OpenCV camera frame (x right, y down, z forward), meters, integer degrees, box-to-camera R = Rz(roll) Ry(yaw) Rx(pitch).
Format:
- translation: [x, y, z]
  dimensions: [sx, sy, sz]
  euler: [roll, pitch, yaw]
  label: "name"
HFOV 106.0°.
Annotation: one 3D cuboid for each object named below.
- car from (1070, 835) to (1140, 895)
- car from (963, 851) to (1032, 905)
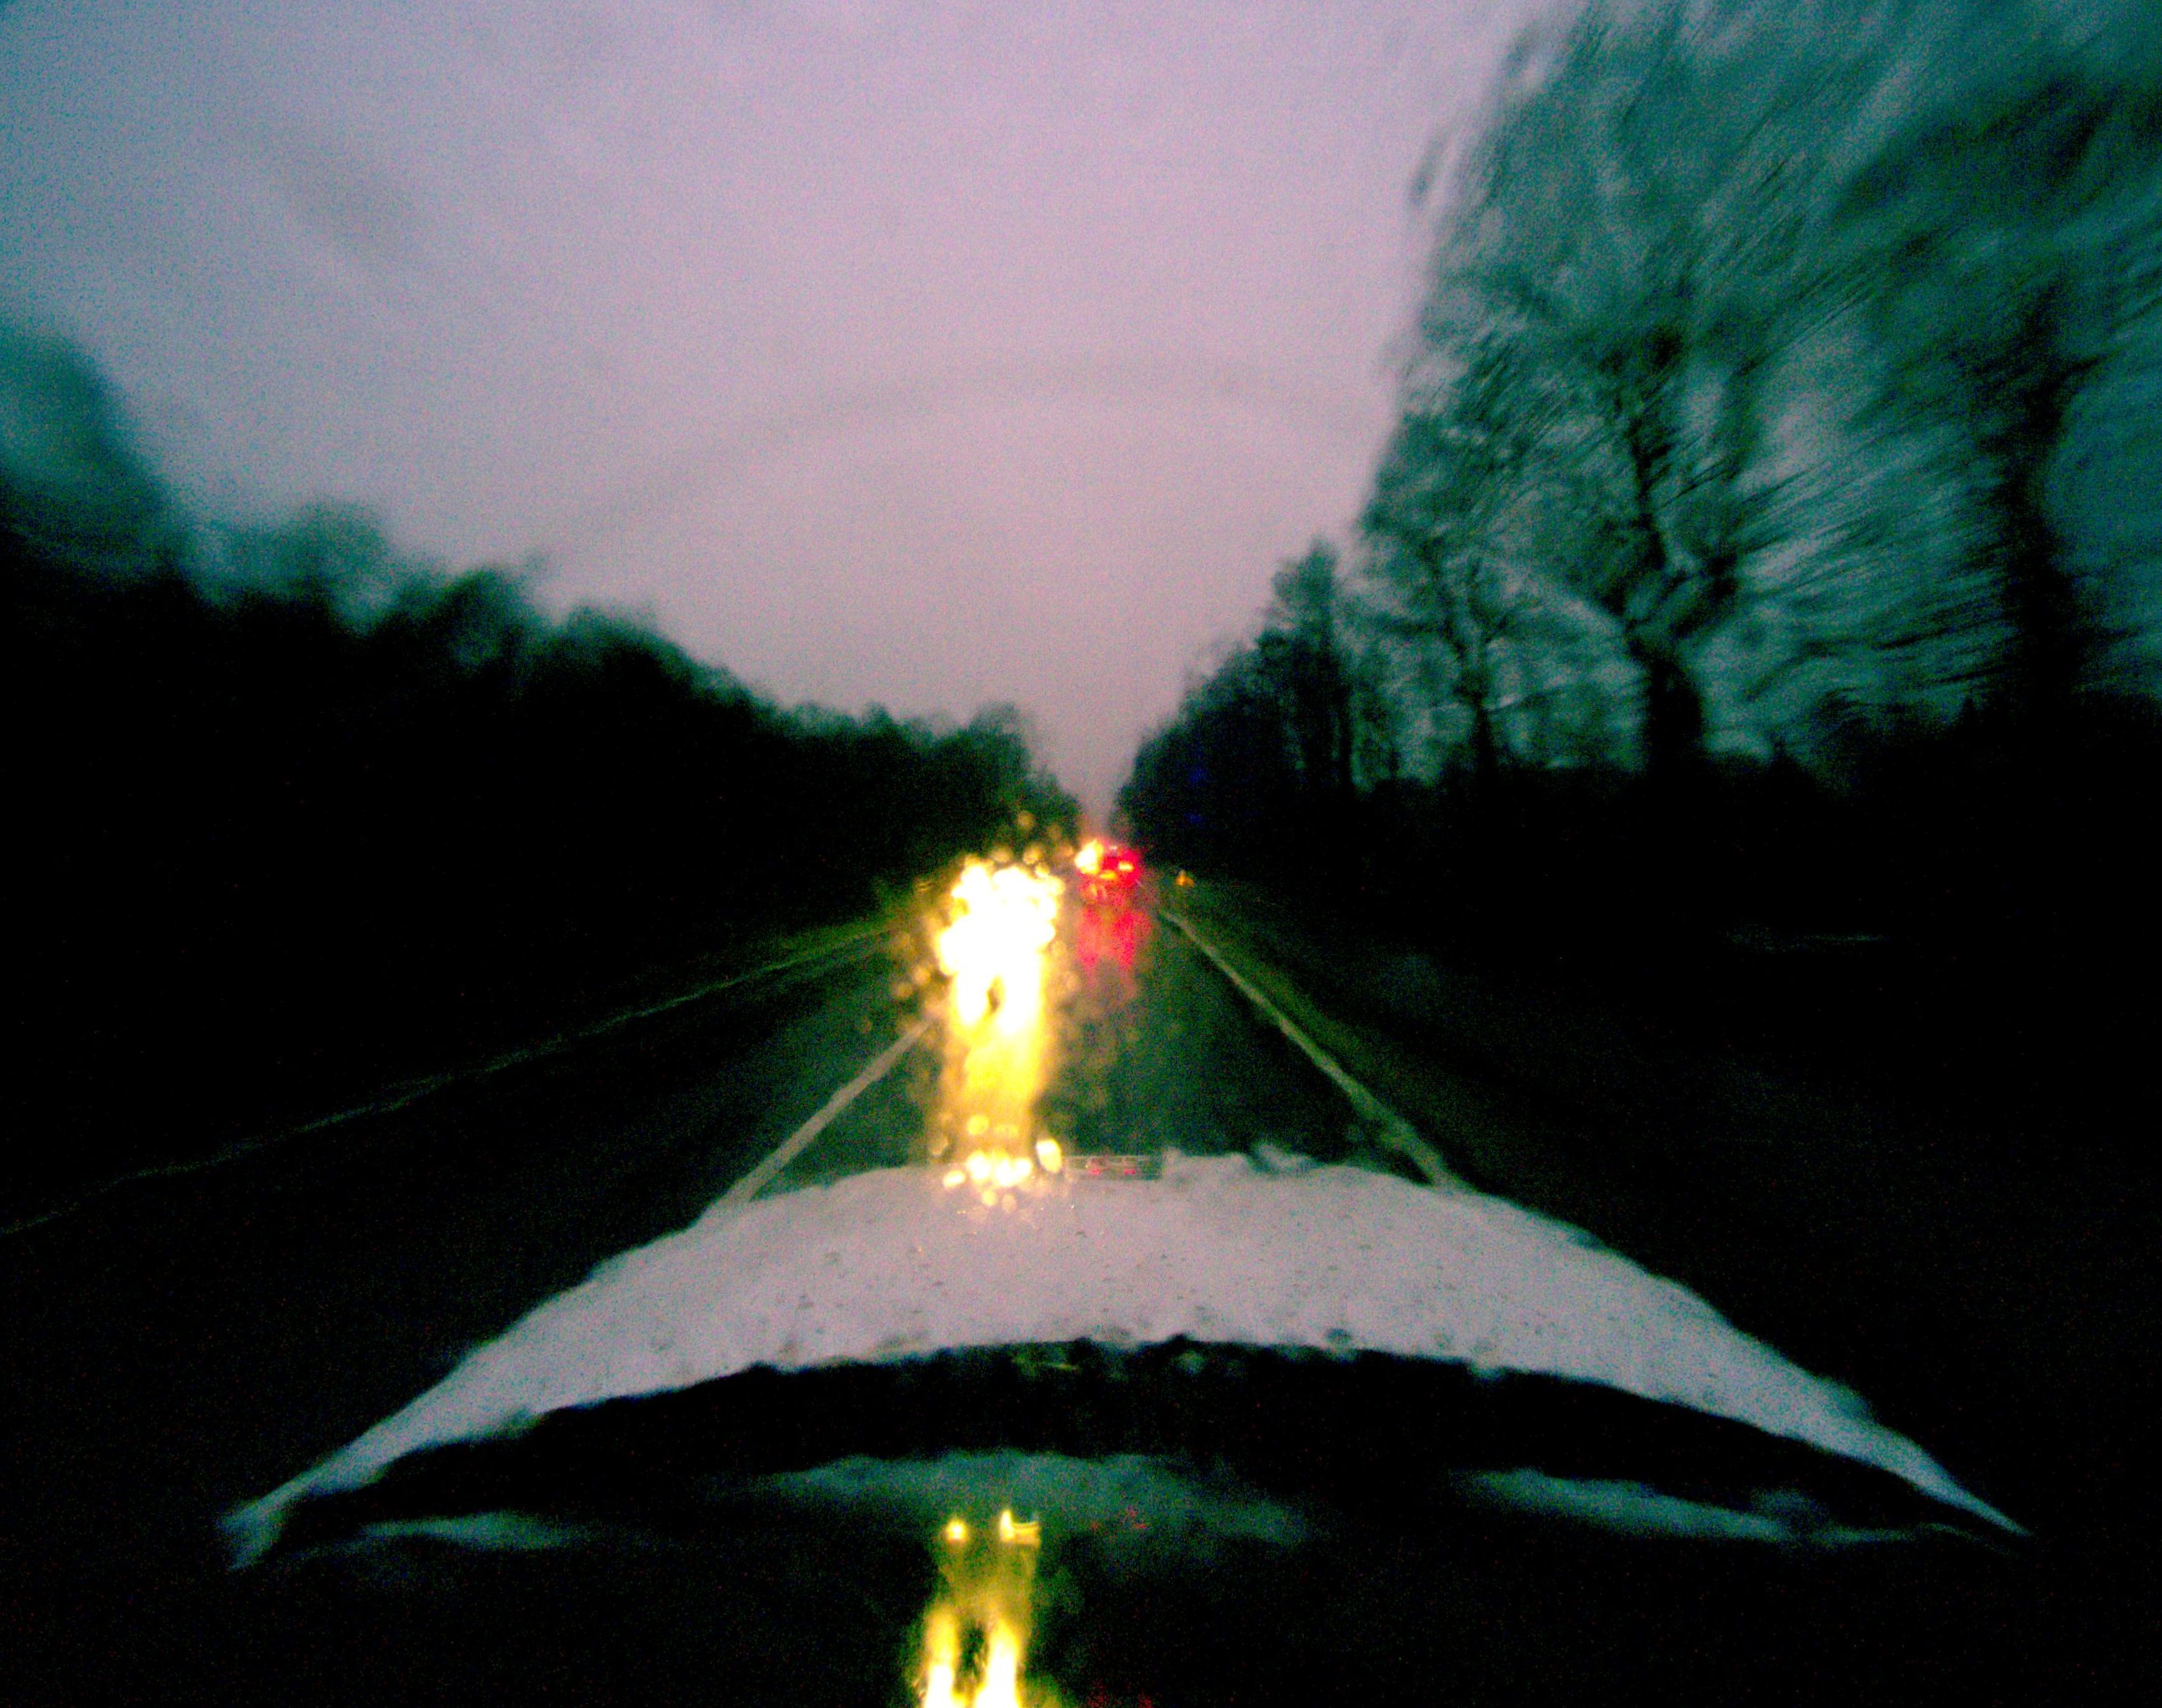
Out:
- translation: [0.809, 0.322, 28.155]
  dimensions: [2.190, 1.877, 4.828]
  euler: [-1, 0, 1]
  label: "car"
- translation: [-2.607, 0.707, 26.370]
  dimensions: [1.743, 1.552, 3.993]
  euler: [-2, 0, 0]
  label: "car"
